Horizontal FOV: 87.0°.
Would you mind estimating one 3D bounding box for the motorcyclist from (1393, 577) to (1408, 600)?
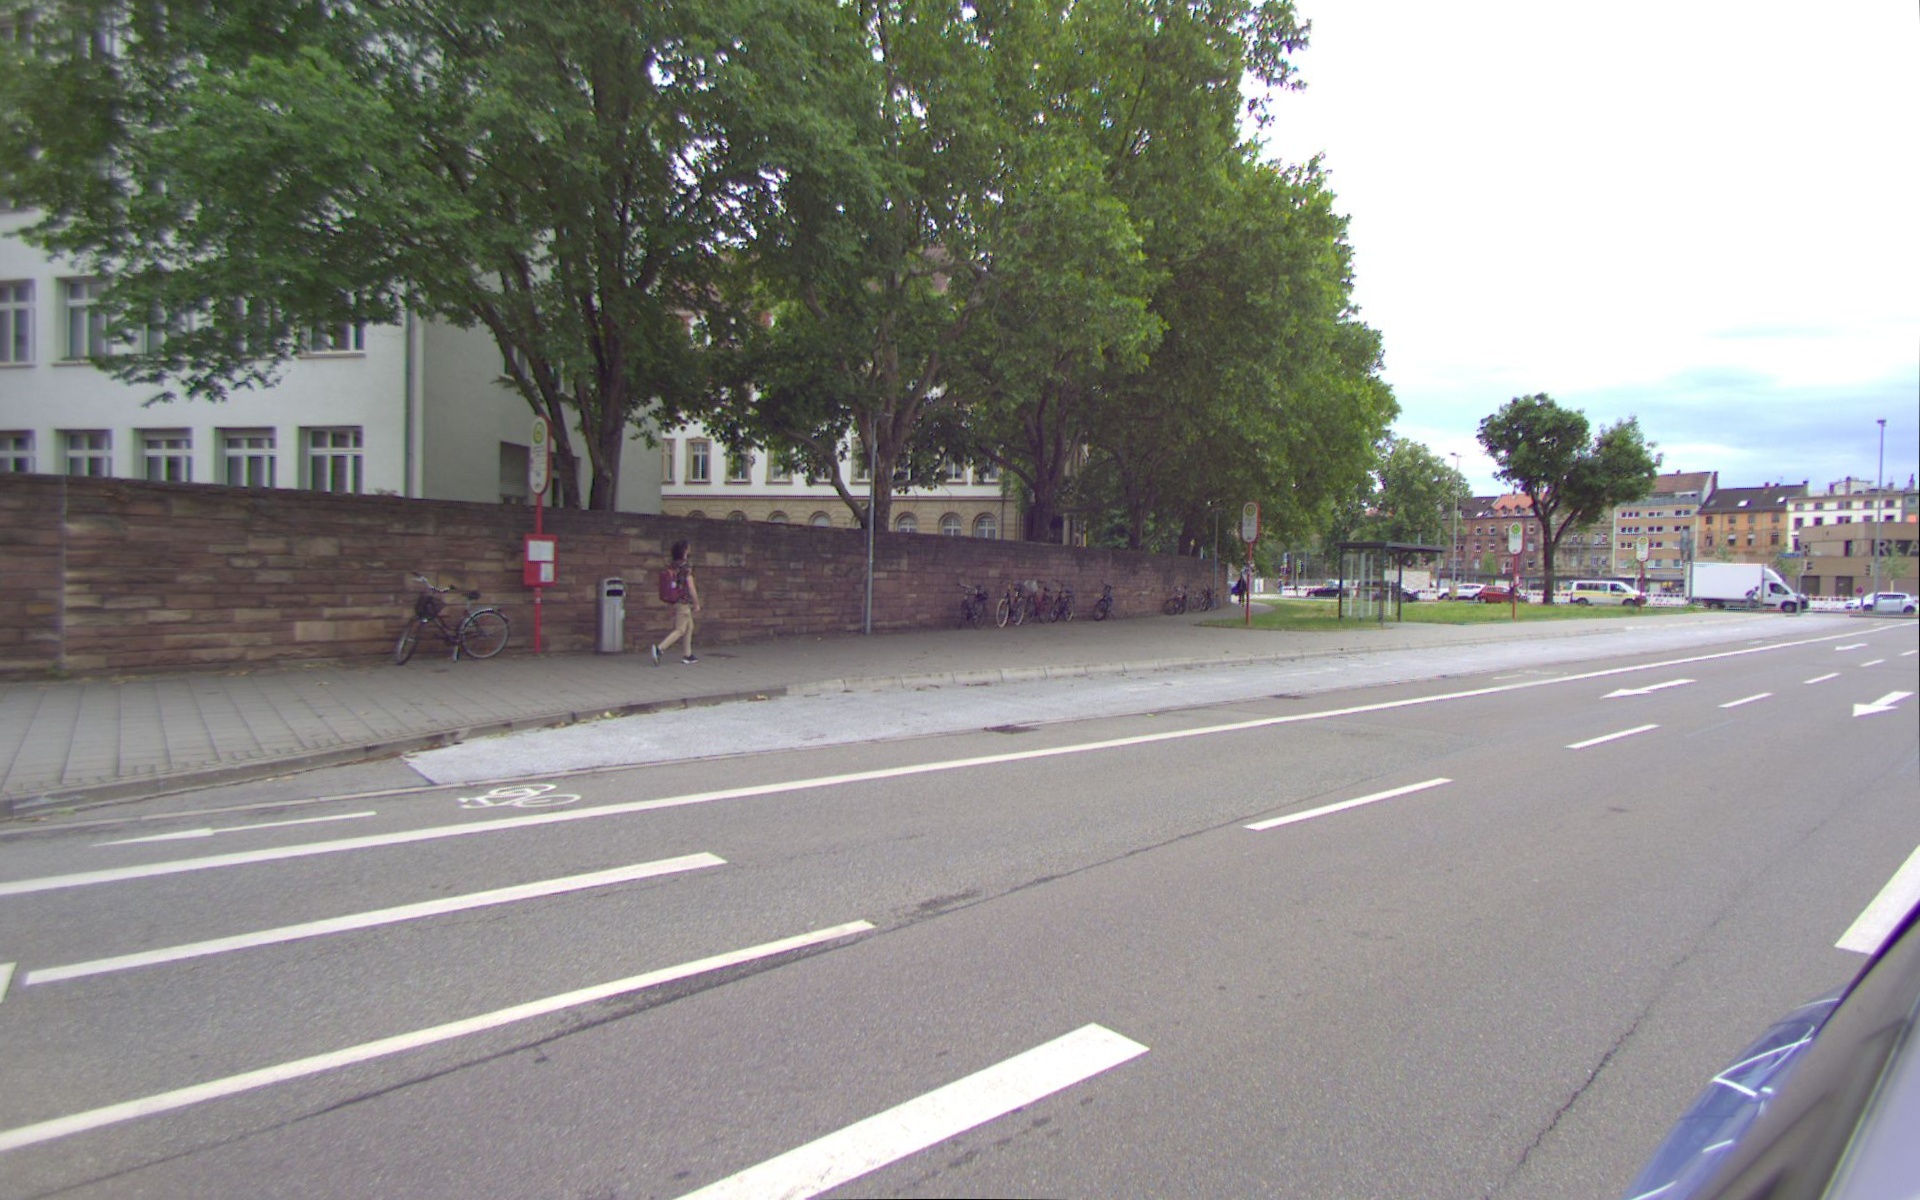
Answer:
[{"bbox_3d":[36.430,-0.987,83.657,0.913,1.851,0.917,4,2,37],"label":"motorcyclist"}]

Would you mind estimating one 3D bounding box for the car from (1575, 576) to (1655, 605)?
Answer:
[{"bbox_3d":[48.325,-0.731,74.715,1.890,1.942,4.704,-4,4,-44],"label":"car"}]

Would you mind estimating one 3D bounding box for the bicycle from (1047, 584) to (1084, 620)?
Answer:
[{"bbox_3d":[3.000,0.044,28.759,0.414,0.954,1.508,3,2,31],"label":"bicycle"}]

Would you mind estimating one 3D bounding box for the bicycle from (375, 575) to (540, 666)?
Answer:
[{"bbox_3d":[-6.987,0.239,14.155,0.845,1.141,1.900,4,3,34],"label":"bicycle"}]

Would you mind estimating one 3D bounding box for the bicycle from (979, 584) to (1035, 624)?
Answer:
[{"bbox_3d":[1.206,0.084,25.753,0.650,0.963,1.751,3,2,31],"label":"bicycle"}]

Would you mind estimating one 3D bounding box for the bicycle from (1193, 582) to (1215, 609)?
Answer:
[{"bbox_3d":[10.325,-0.211,42.782,0.589,1.072,1.700,3,2,23],"label":"bicycle"}]

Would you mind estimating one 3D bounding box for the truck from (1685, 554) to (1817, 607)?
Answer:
[{"bbox_3d":[53.843,-1.374,69.023,6.835,3.453,2.520,1,3,45],"label":"truck"}]

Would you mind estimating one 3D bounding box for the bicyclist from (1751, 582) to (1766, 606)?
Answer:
[{"bbox_3d":[52.726,-0.418,66.831,0.737,1.526,0.757,4,2,39],"label":"bicyclist"}]

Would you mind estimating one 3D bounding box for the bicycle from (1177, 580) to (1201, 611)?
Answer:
[{"bbox_3d":[8.985,-0.178,39.658,0.589,1.143,1.700,3,2,23],"label":"bicycle"}]

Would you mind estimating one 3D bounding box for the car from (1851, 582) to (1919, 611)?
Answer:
[{"bbox_3d":[63.865,-0.212,69.182,3.859,1.785,1.830,3,2,17],"label":"car"}]

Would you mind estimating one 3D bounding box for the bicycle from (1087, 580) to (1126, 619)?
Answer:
[{"bbox_3d":[4.440,-0.043,30.613,0.593,1.118,1.638,3,2,29],"label":"bicycle"}]

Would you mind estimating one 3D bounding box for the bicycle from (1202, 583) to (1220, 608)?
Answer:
[{"bbox_3d":[11.012,-0.202,44.352,0.544,1.004,1.626,3,2,20],"label":"bicycle"}]

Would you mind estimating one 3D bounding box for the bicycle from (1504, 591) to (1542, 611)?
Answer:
[{"bbox_3d":[42.789,0.054,76.916,2.384,1.340,0.753,4,3,44],"label":"bicycle"}]

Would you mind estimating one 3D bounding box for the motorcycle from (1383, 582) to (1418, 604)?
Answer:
[{"bbox_3d":[36.425,-0.598,83.681,2.501,1.621,0.917,4,3,37],"label":"motorcycle"}]

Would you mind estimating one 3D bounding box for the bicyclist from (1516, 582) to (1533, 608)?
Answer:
[{"bbox_3d":[42.860,-0.401,76.858,0.893,1.883,0.753,4,3,43],"label":"bicyclist"}]

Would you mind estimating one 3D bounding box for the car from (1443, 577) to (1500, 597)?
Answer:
[{"bbox_3d":[43.915,-1.152,86.913,4.020,1.493,1.792,5,3,43],"label":"car"}]

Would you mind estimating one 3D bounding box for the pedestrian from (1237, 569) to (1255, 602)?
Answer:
[{"bbox_3d":[15.474,-0.799,54.783,0.745,1.756,0.821,3,2,10],"label":"pedestrian"}]

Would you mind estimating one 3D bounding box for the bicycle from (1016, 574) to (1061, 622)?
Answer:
[{"bbox_3d":[2.128,-0.075,27.307,0.497,1.236,1.609,3,2,31],"label":"bicycle"}]

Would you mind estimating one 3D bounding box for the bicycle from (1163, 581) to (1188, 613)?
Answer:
[{"bbox_3d":[8.130,-0.138,38.157,0.589,1.150,1.700,3,2,23],"label":"bicycle"}]

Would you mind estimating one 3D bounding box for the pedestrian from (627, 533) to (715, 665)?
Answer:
[{"bbox_3d":[-4.210,-0.024,14.734,1.014,1.844,0.632,1,2,-41],"label":"pedestrian"}]

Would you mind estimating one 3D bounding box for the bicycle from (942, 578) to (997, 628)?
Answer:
[{"bbox_3d":[0.248,0.047,24.117,0.712,1.113,1.781,3,2,20],"label":"bicycle"}]

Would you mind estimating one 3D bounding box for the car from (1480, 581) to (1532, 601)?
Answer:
[{"bbox_3d":[43.367,-0.701,80.433,3.422,1.399,1.266,2,-6,44],"label":"car"}]

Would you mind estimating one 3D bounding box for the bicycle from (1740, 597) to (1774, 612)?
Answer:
[{"bbox_3d":[52.667,0.299,66.879,1.687,0.926,0.757,4,3,39],"label":"bicycle"}]
